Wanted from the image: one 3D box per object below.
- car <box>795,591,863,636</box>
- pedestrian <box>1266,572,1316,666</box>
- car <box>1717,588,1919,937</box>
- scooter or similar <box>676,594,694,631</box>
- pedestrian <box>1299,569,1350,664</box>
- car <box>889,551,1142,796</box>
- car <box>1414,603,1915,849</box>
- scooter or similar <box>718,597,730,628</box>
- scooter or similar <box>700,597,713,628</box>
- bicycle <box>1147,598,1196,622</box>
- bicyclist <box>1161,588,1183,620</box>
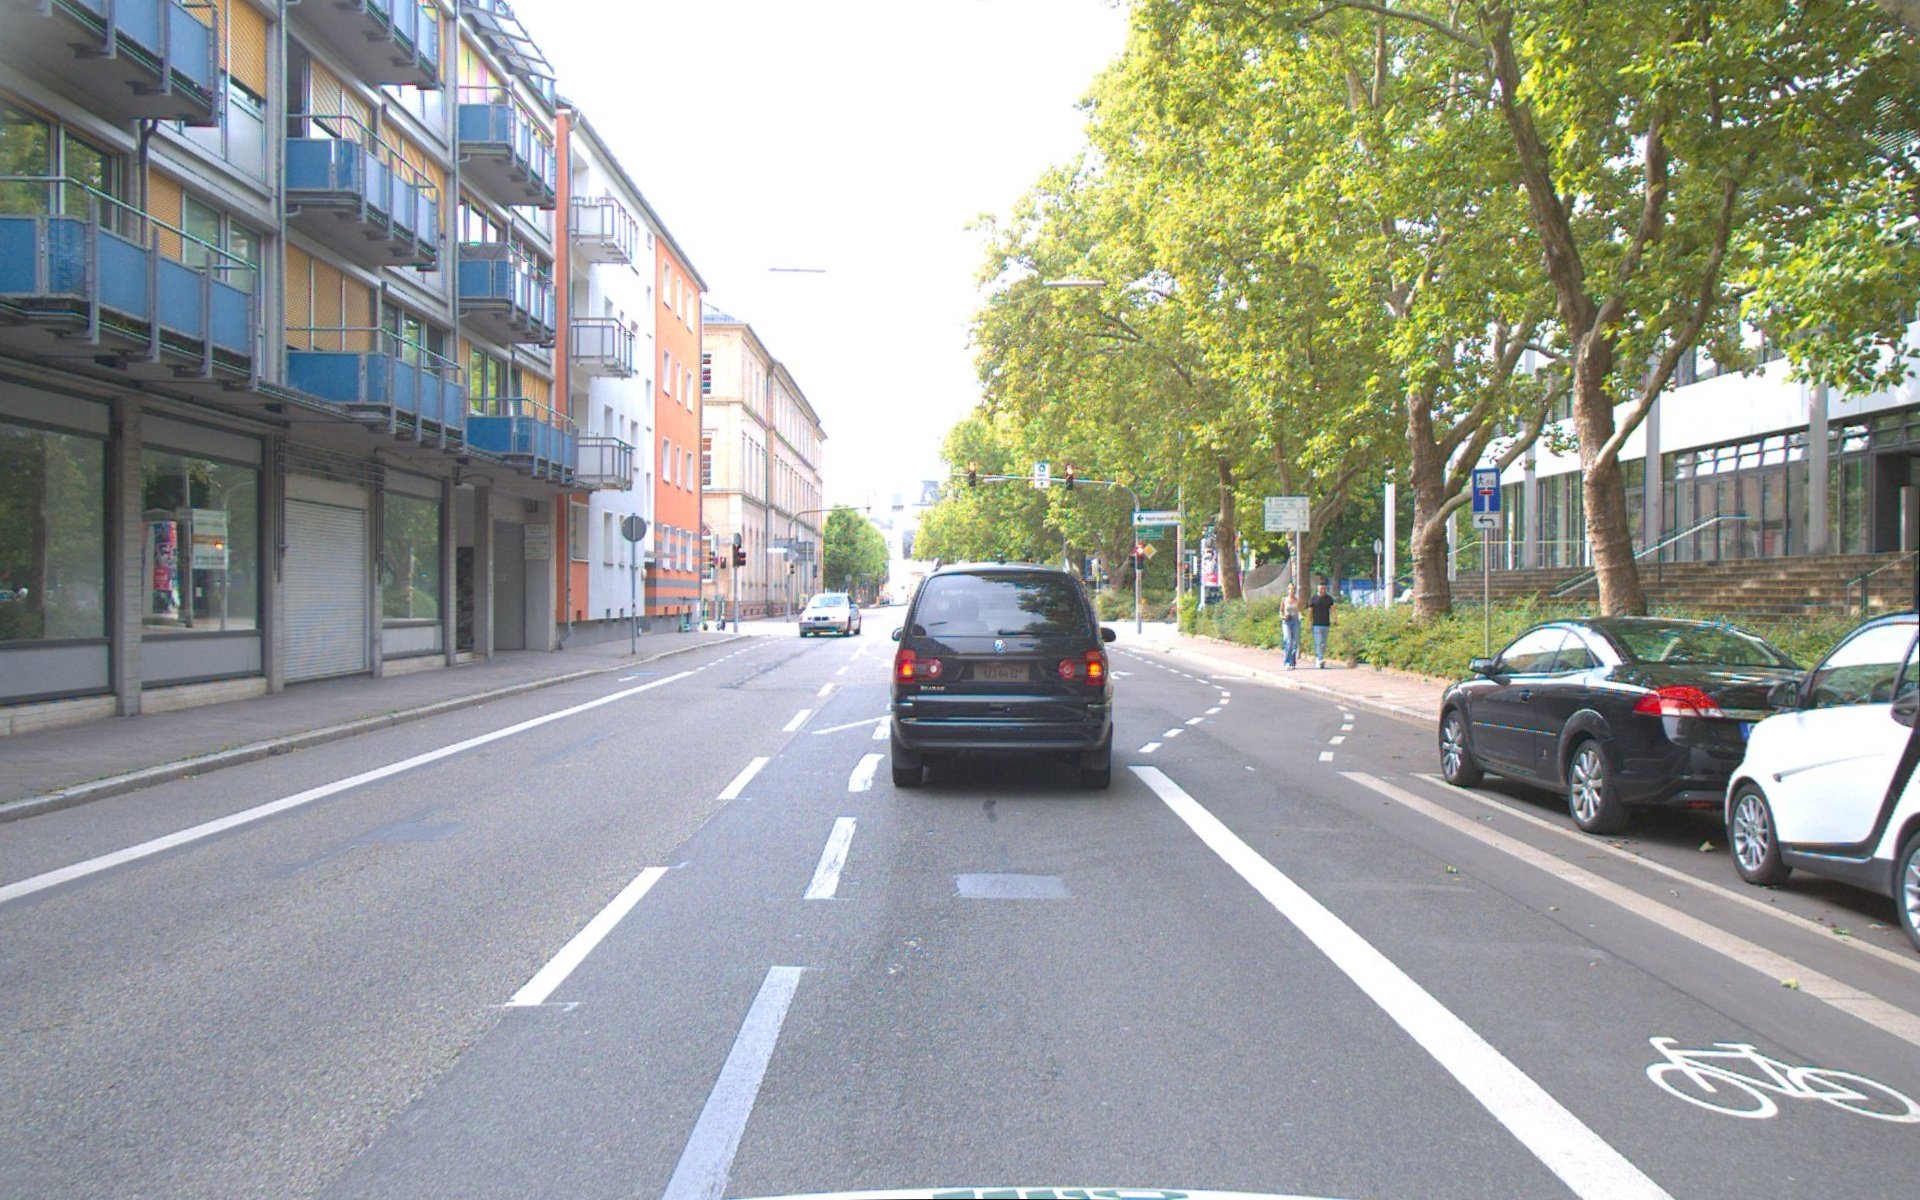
[{"bbox_3d":[-4.426,0.434,56.397,1.720,1.452,4.101,-1,0,4],"label":"car"},{"bbox_3d":[6.584,0.378,32.923,0.696,1.814,1.033,-2,0,-2],"label":"pedestrian"},{"bbox_3d":[5.117,0.749,8.281,1.504,1.570,2.600,2,0,2],"label":"car"},{"bbox_3d":[-9.201,0.428,55.403,0.370,1.204,1.389,0,-1,-1],"label":"scooter or similar"},{"bbox_3d":[7.234,0.330,32.848,0.700,1.831,1.033,-2,0,-2],"label":"pedestrian"},{"bbox_3d":[0.354,0.516,14.324,1.836,1.775,4.572,0,0,-1],"label":"car"},{"bbox_3d":[4.978,0.788,12.447,1.664,1.450,4.419,2,0,-3],"label":"car"},{"bbox_3d":[-8.862,0.476,62.050,0.370,1.164,1.141,0,-1,-4],"label":"scooter or similar"},{"bbox_3d":[-9.442,0.467,61.615,0.370,1.167,1.141,0,-1,-4],"label":"scooter or similar"},{"bbox_3d":[9.858,0.482,77.038,2.190,1.113,0.627,0,0,-6],"label":"bicycle"},{"bbox_3d":[9.859,0.186,77.032,0.896,1.519,0.626,0,0,-5],"label":"bicyclist"}]
